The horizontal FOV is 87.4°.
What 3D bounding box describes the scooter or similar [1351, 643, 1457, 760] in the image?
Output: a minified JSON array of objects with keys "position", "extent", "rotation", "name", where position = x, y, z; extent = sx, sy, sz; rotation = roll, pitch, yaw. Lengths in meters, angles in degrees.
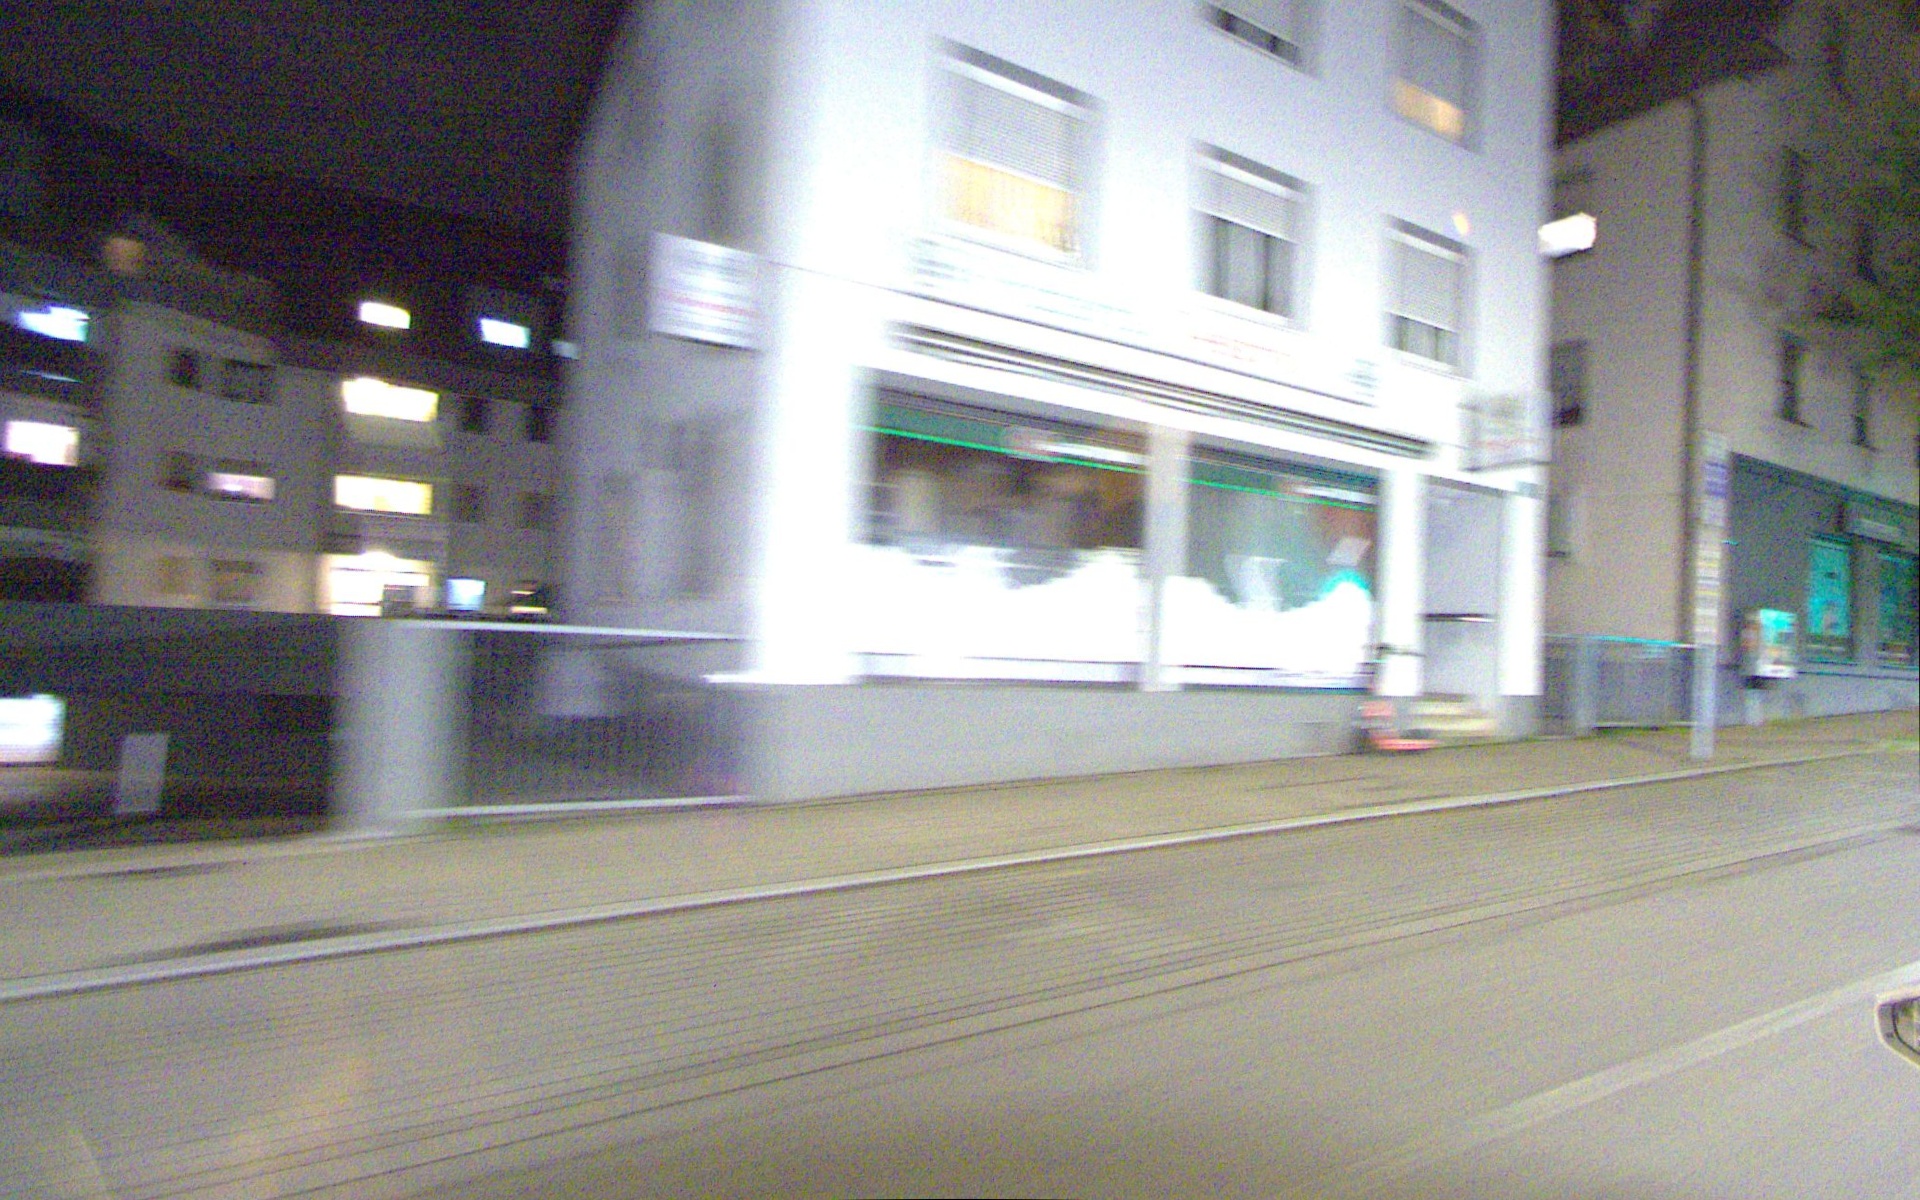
[{"position":[4.984,1.116,11.255],"extent":[1.319,1.242,0.330],"rotation":[2,0,-29],"name":"scooter or similar"}]
